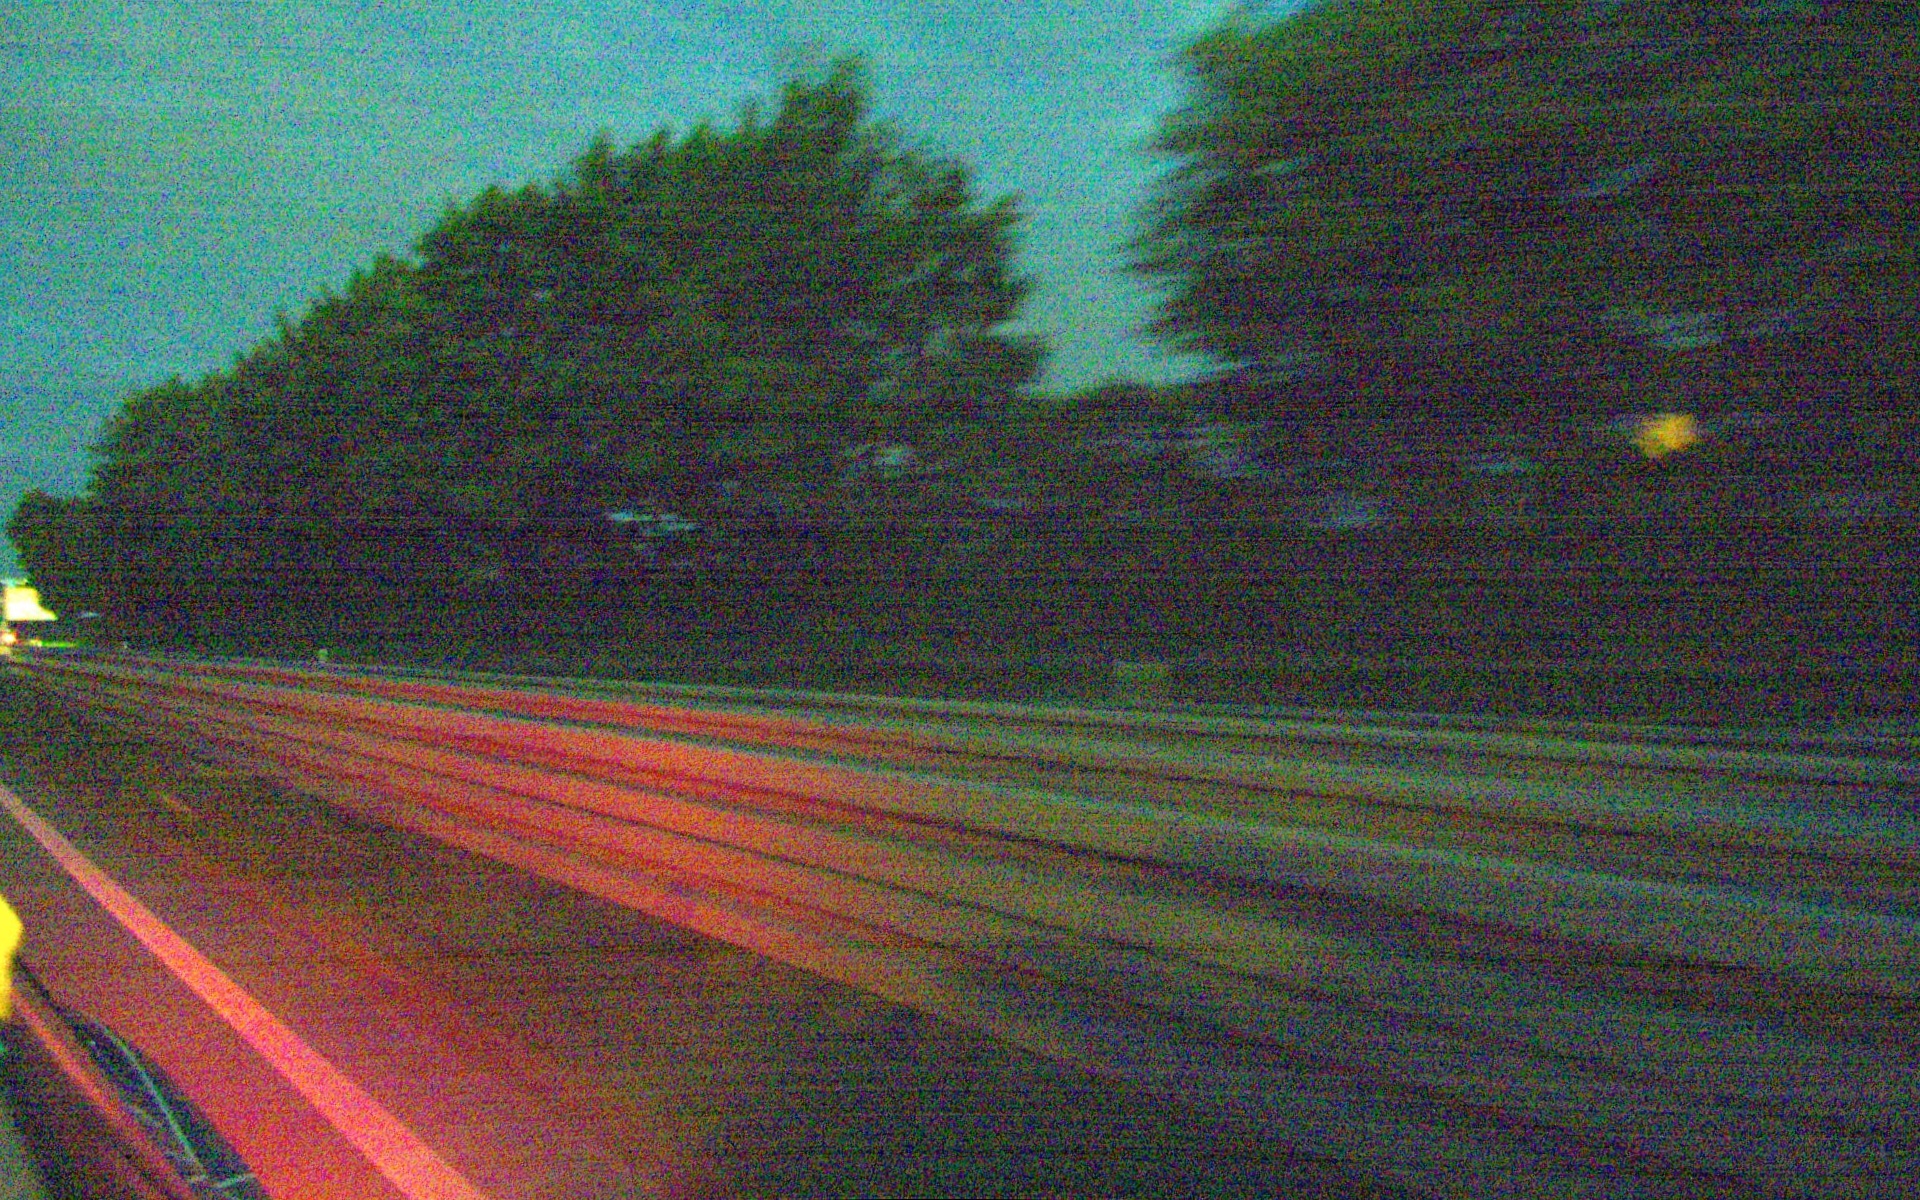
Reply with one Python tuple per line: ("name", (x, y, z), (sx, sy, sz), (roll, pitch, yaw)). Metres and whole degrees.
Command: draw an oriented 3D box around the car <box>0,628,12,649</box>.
("car", (-73.612, 2.946, 77.109), (3.867, 1.518, 1.600), (-1, -1, 41))
